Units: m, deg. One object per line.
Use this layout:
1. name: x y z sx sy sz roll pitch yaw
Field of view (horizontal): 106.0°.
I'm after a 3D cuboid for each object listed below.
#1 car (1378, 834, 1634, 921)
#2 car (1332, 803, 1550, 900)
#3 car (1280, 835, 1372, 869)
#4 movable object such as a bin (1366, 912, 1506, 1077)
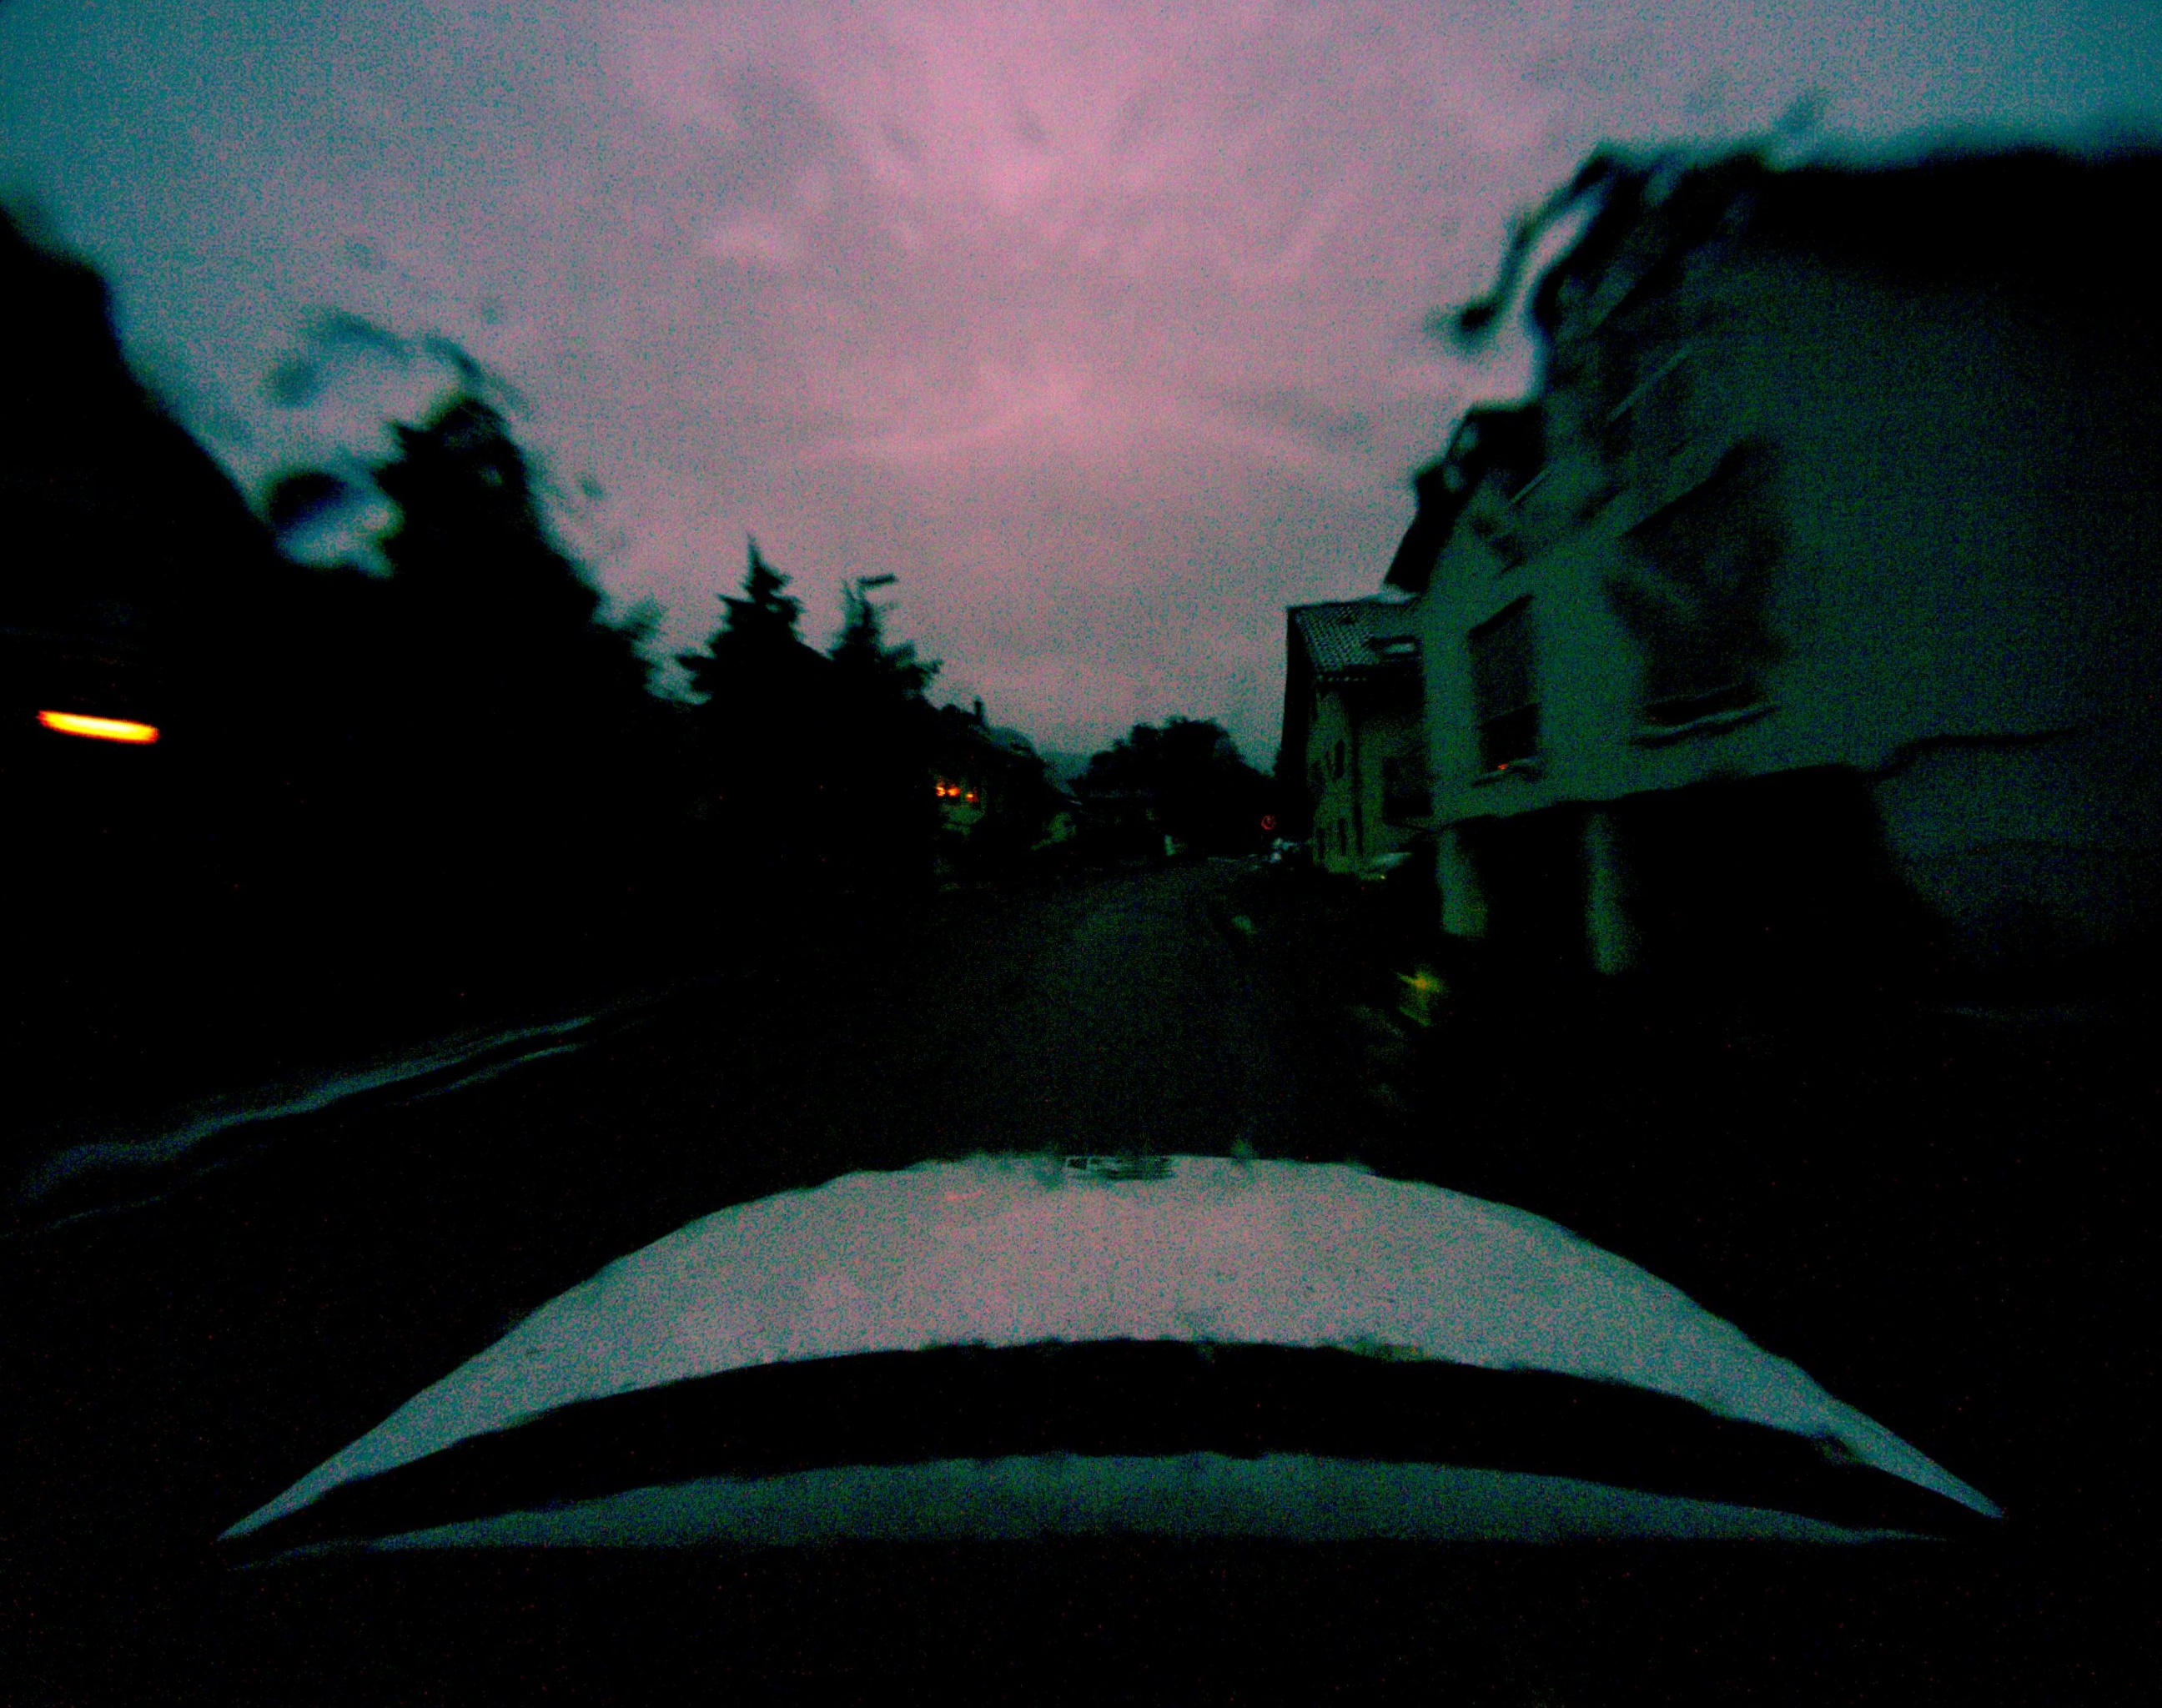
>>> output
1. car: 7.921 0.415 15.423 3.975 1.457 1.690 -1 0 -1
2. car: 8.437 -0.044 19.421 4.260 1.456 1.782 -11 -1 5
3. car: 12.980 -0.104 43.375 4.472 1.443 2.008 -4 0 14
4. movable object such as a bin: 2.333 0.909 5.419 0.611 0.946 0.595 -6 -2 5
